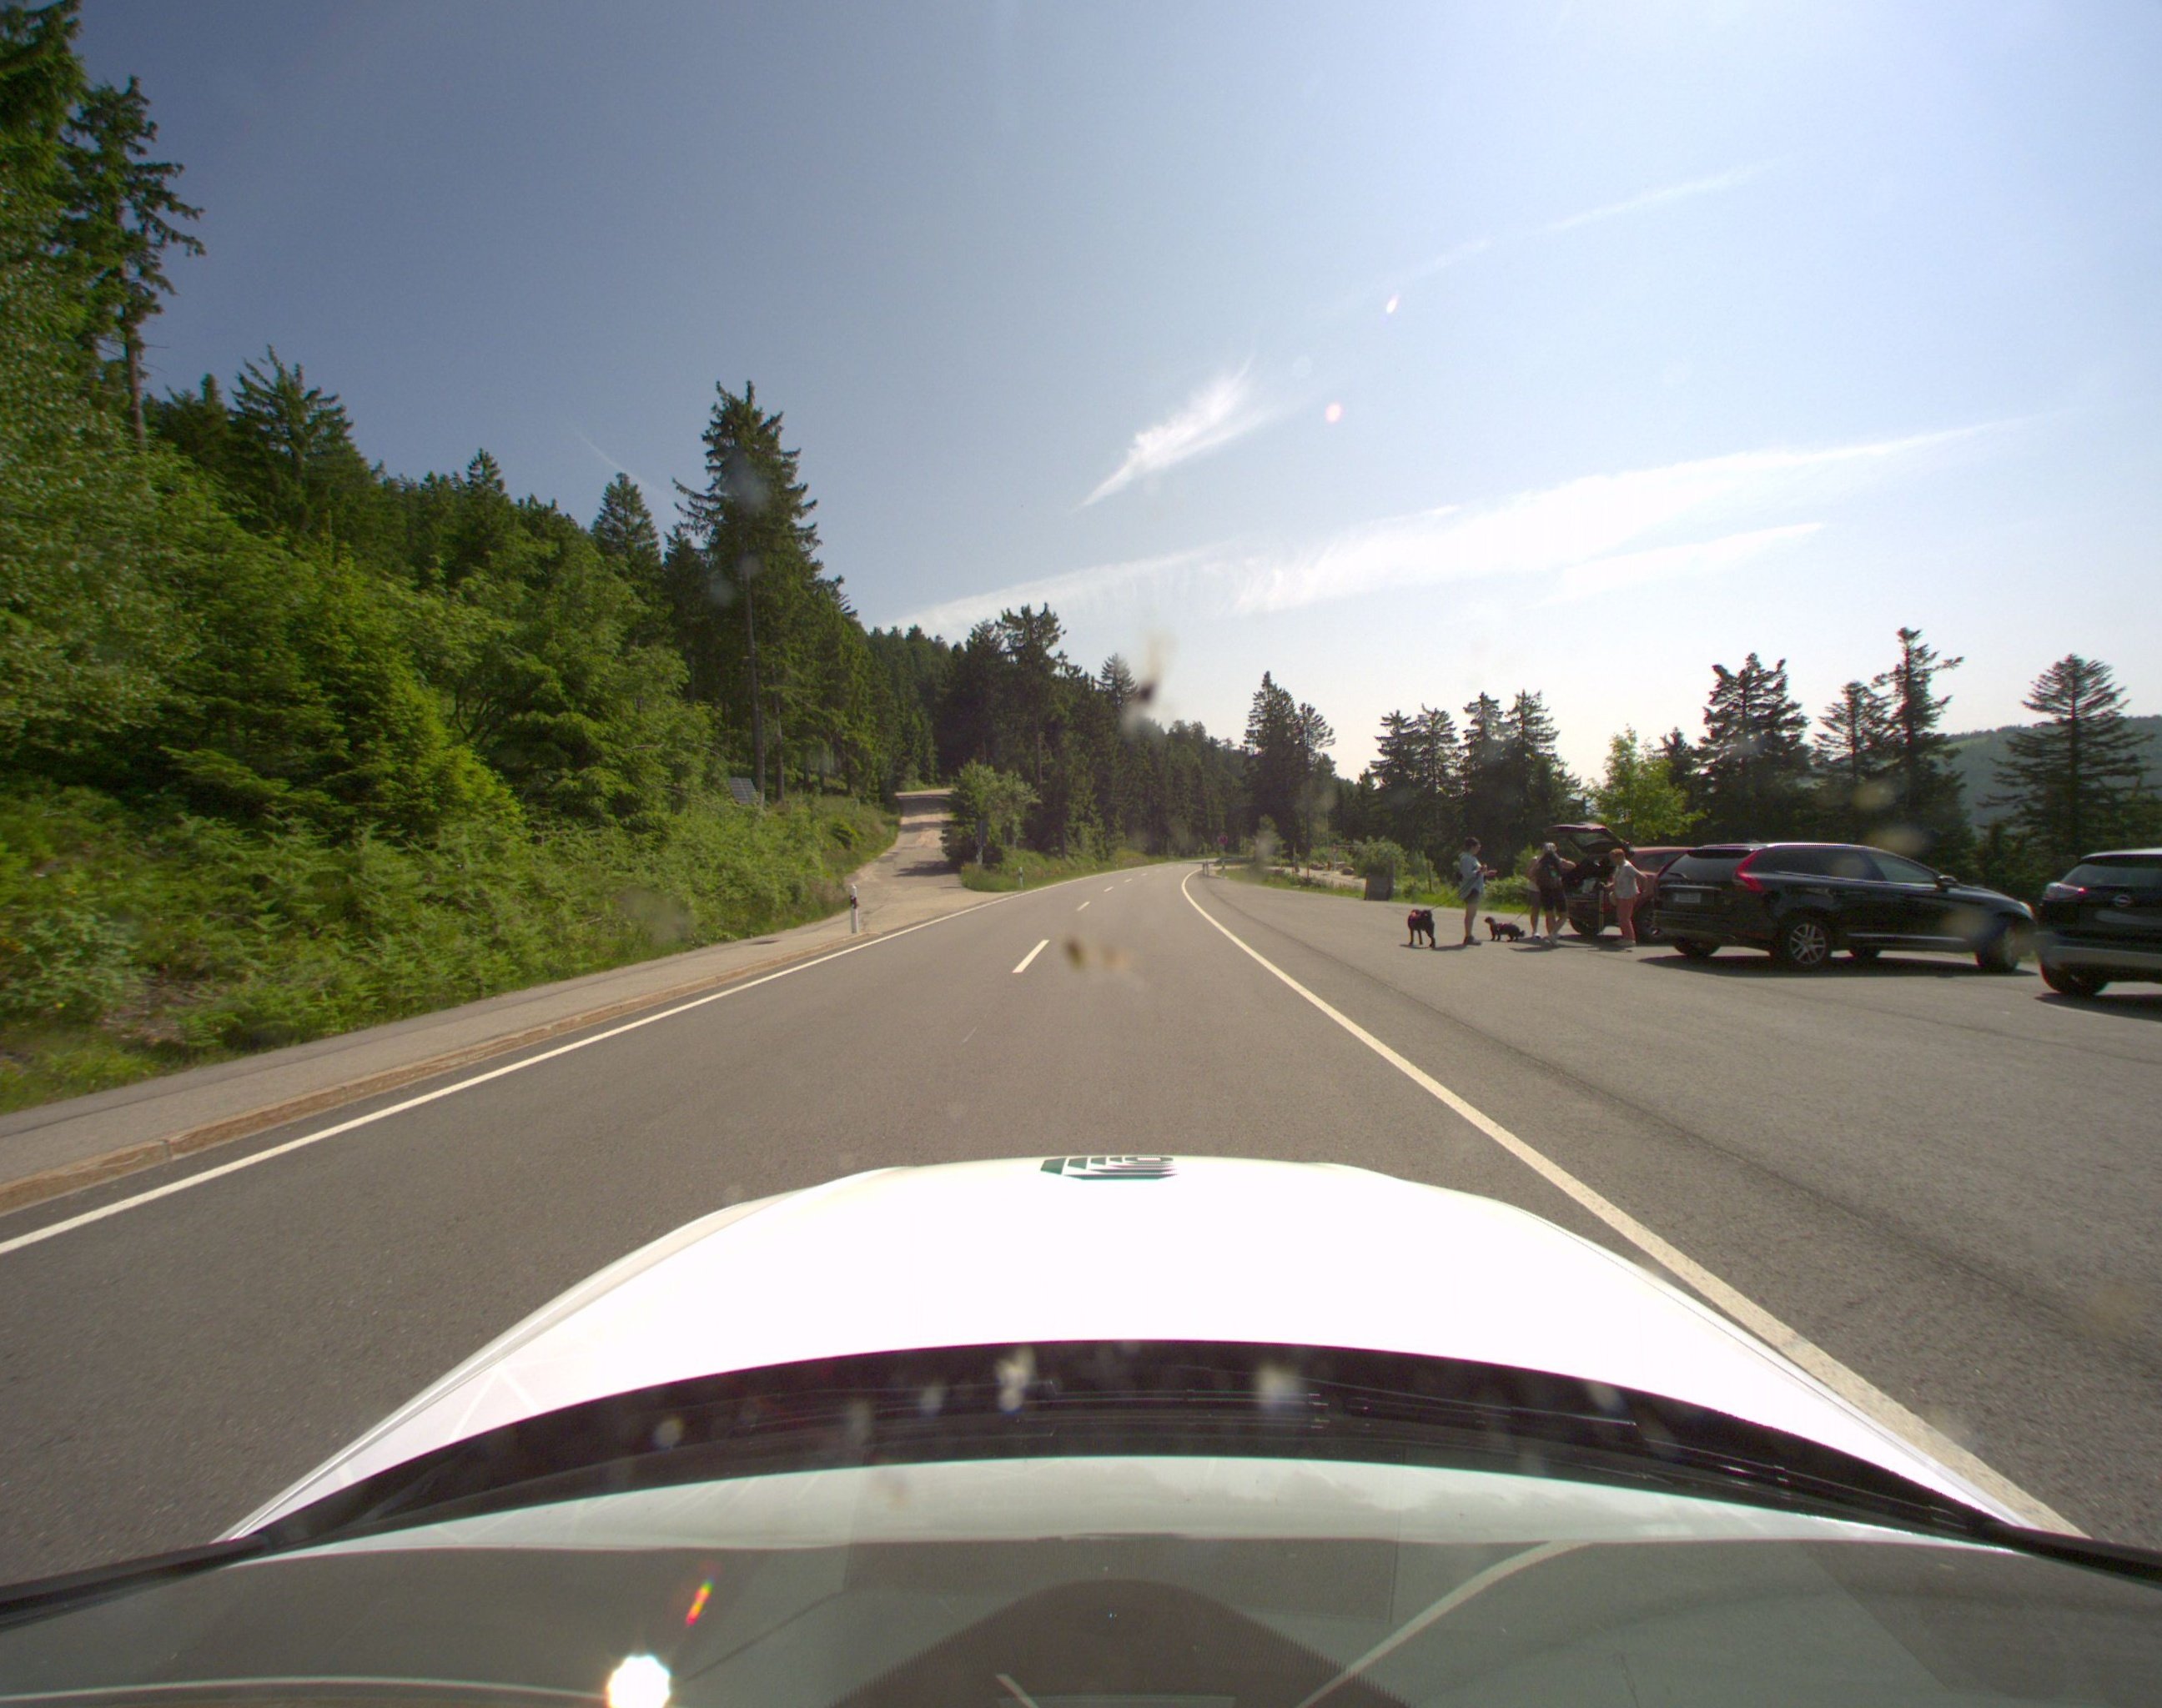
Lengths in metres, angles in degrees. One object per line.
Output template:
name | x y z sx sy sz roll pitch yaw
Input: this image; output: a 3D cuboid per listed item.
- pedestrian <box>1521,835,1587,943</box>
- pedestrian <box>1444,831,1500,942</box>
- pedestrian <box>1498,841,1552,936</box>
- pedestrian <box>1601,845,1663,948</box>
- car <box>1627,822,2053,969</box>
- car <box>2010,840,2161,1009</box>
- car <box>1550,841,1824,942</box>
pedestrian | 7.600 0.558 13.113 0.712 1.692 0.620 -1 0 6
pedestrian | 6.462 0.520 13.489 0.614 1.775 0.725 -1 0 6
pedestrian | 8.063 0.621 14.813 0.648 1.660 0.690 -2 1 12
pedestrian | 8.841 0.662 13.087 0.612 1.587 0.739 -2 1 19
car | 10.309 0.533 11.289 4.254 1.794 1.890 -1 -1 -4
car | 11.913 0.634 8.170 3.748 1.567 1.596 -1 0 -7
car | 10.672 0.638 14.475 3.811 1.661 1.649 1 0 -6
